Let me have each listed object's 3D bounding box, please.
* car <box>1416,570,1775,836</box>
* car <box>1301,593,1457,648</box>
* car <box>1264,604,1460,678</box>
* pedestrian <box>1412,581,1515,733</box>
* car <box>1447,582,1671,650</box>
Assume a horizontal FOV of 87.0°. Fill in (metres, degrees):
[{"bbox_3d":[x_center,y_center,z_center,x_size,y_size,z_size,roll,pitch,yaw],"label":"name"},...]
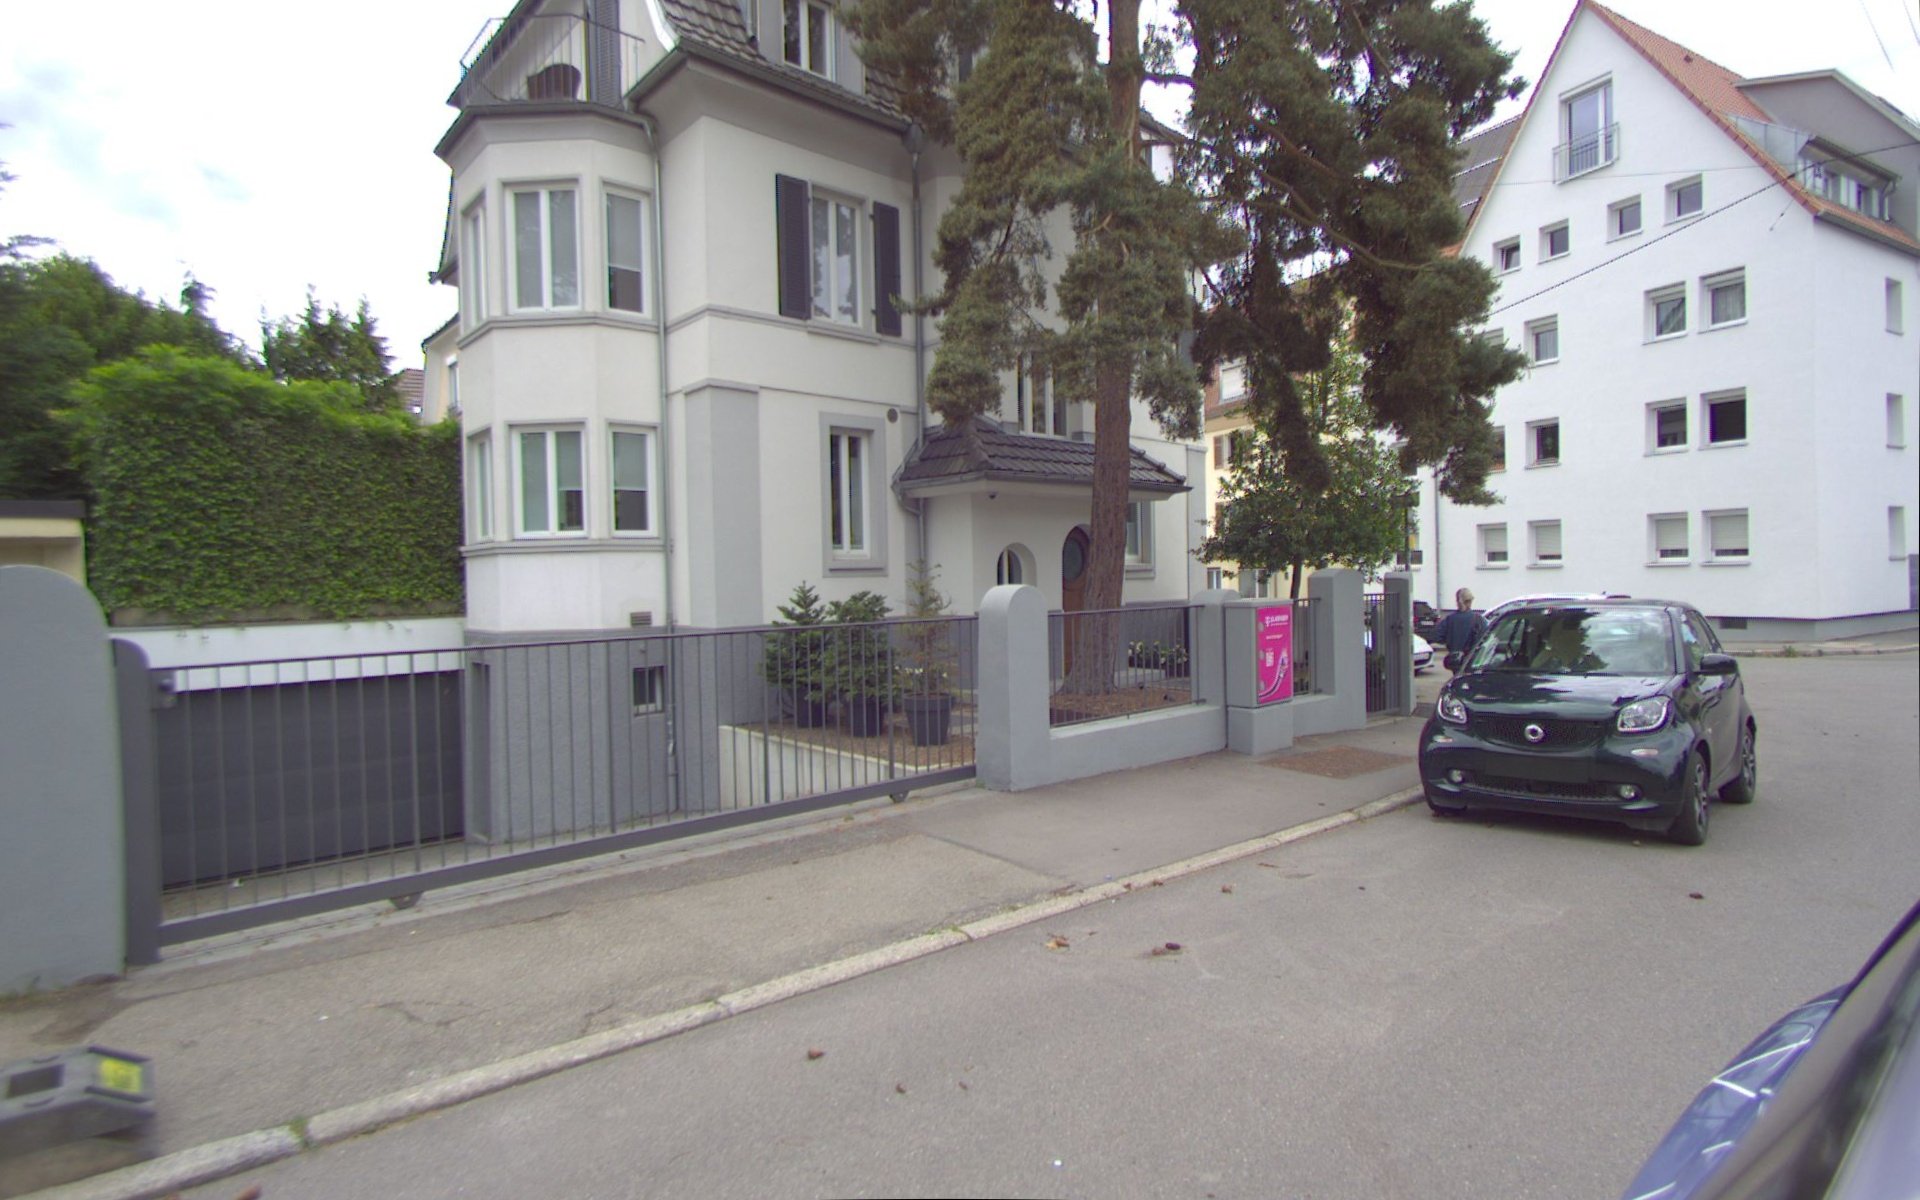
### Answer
[{"bbox_3d":[4.770,0.630,7.483,2.820,1.552,1.572,0,-3,-44],"label":"car"},{"bbox_3d":[11.980,0.595,29.178,1.702,1.440,4.005,-1,-1,-25],"label":"car"},{"bbox_3d":[8.287,0.821,21.121,1.638,1.277,3.482,-5,1,-30],"label":"car"},{"bbox_3d":[5.703,0.607,11.465,0.889,1.596,0.683,-2,3,-36],"label":"pedestrian"},{"bbox_3d":[14.320,0.376,24.466,1.728,1.468,4.363,-1,0,-29],"label":"car"}]
